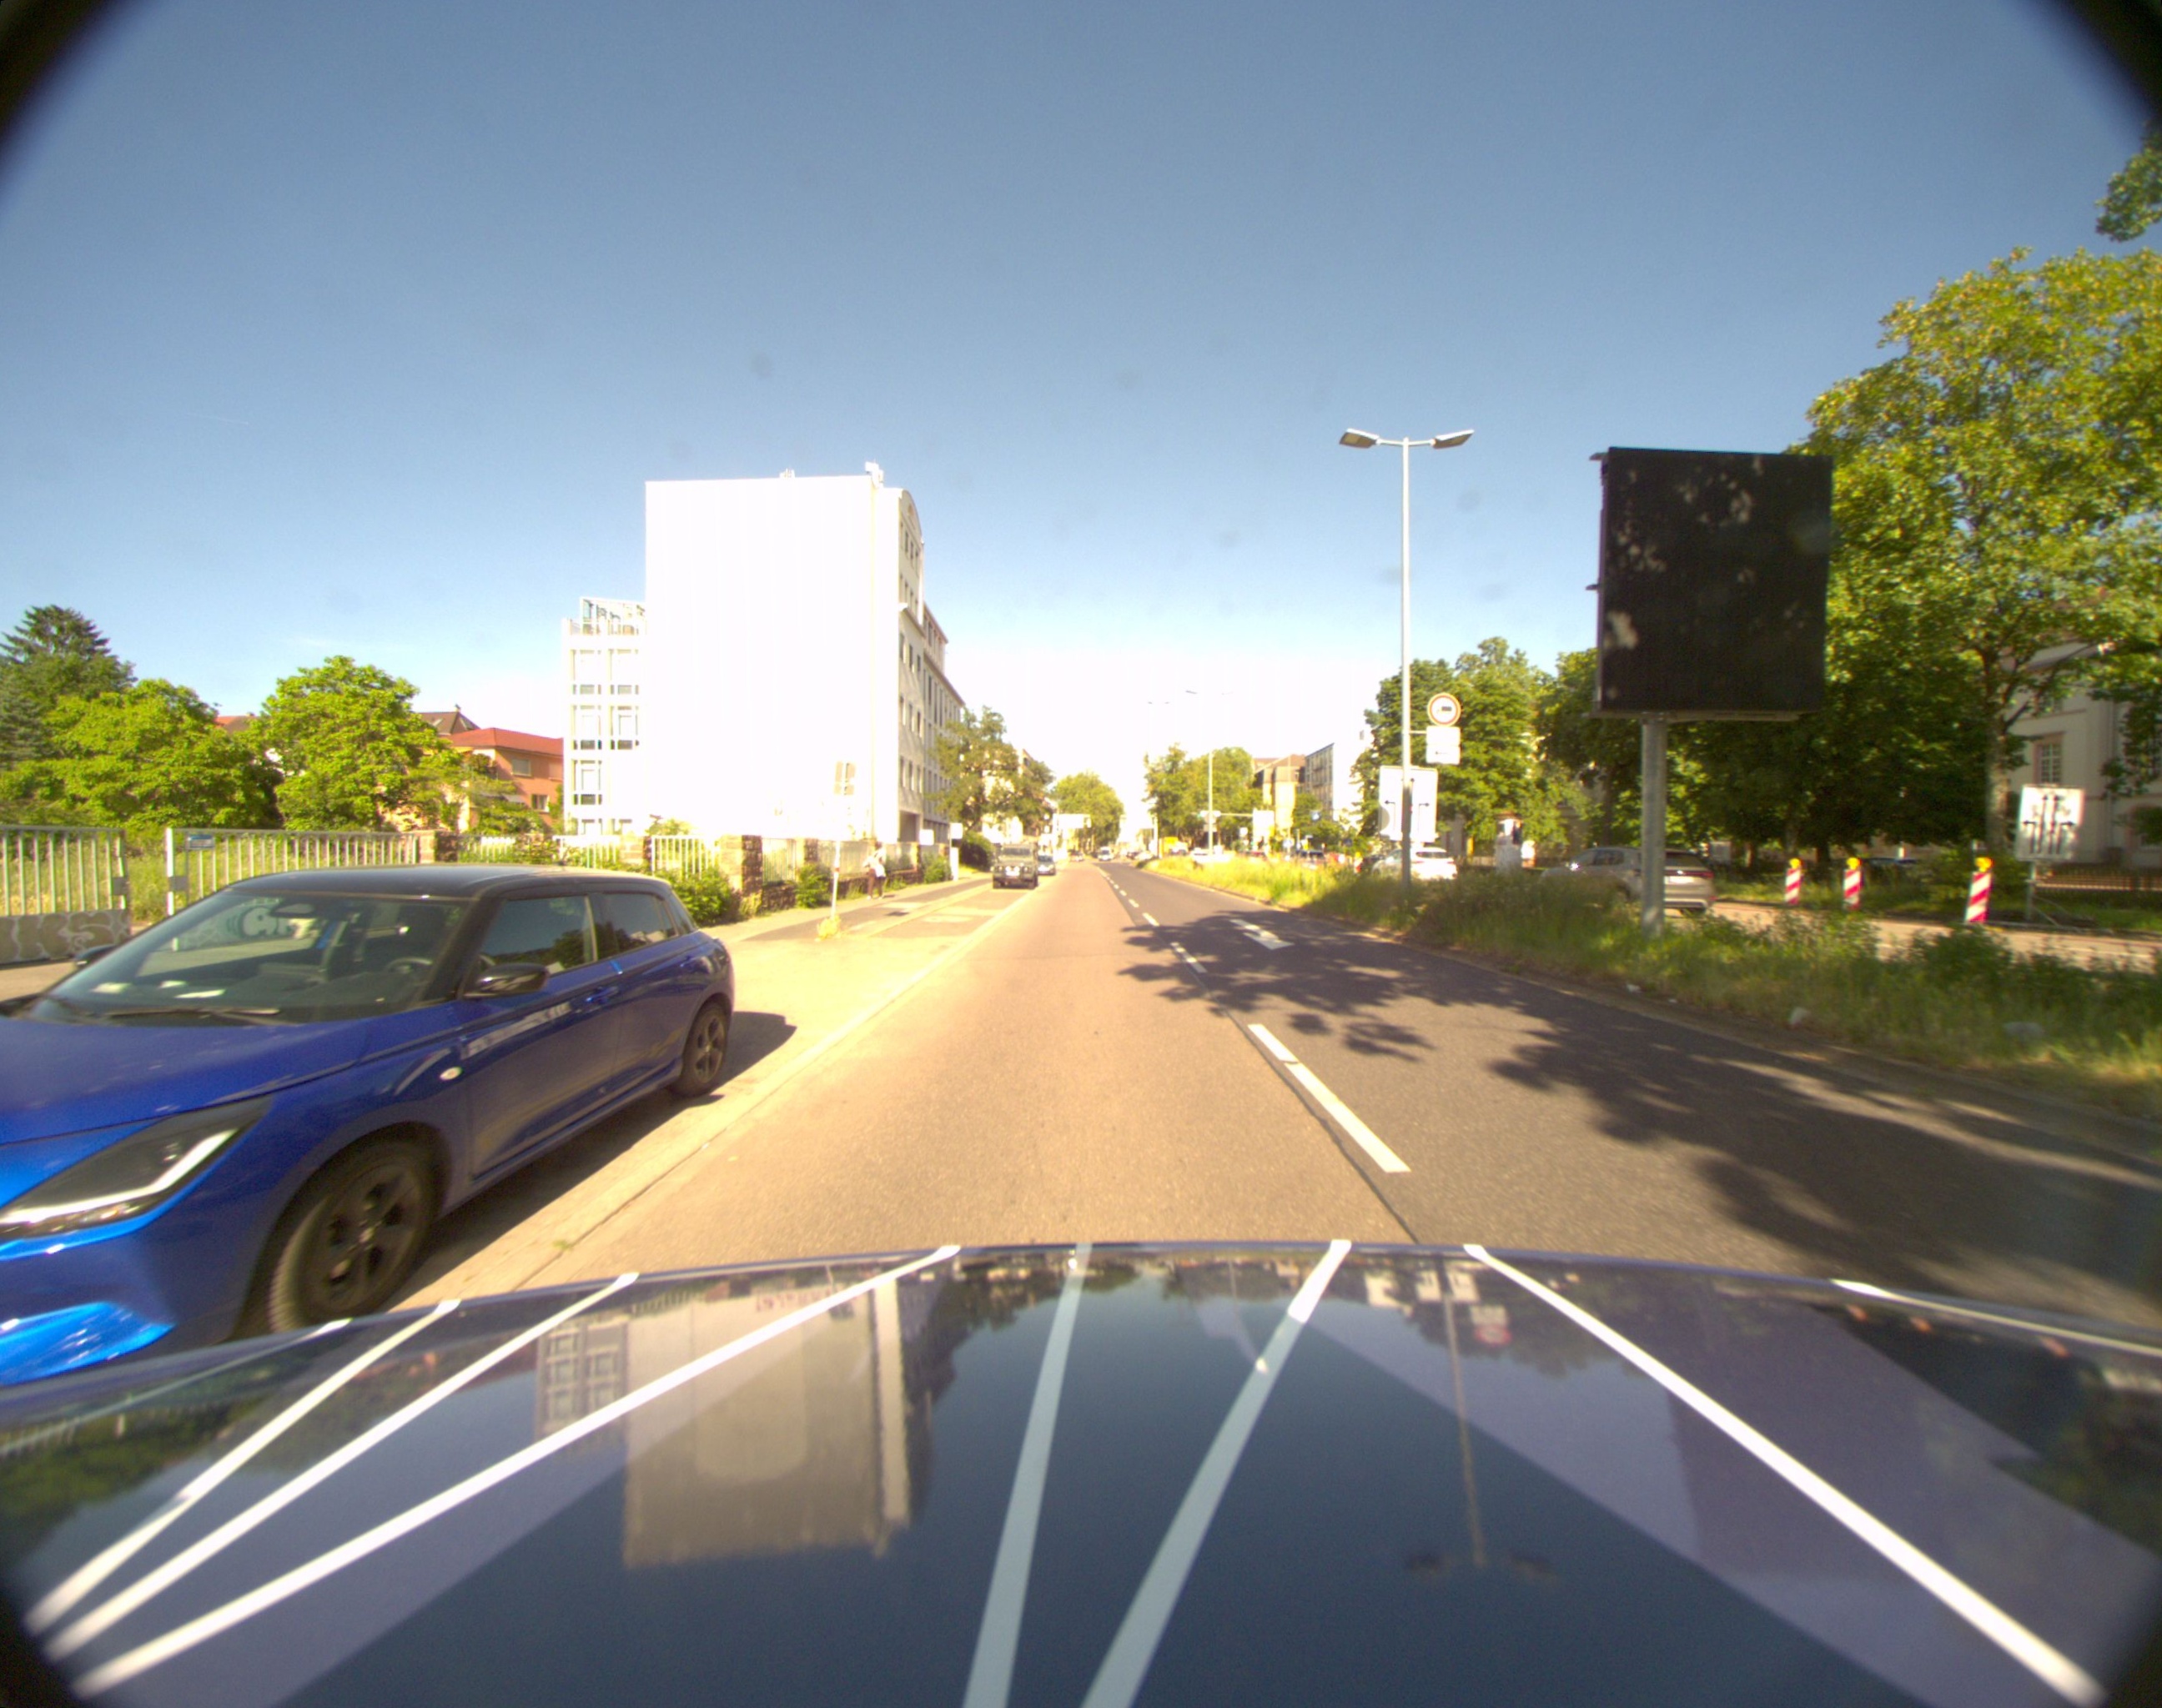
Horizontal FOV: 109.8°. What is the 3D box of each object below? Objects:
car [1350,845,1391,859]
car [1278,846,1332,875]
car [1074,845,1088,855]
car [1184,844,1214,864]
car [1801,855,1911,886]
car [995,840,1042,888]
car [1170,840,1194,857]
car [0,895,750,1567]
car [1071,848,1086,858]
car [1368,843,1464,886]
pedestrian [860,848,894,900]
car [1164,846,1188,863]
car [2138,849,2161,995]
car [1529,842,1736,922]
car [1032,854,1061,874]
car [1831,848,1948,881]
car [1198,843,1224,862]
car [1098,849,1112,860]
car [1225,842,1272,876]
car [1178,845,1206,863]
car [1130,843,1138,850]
[{"bbox_3d":[38.252,-0.296,100.417,4.704,1.609,1.919,-1,4,9],"label":"car"},{"bbox_3d":[12.733,0.350,43.497,1.800,1.510,4.443,0,1,0],"label":"car"},{"bbox_3d":[0.047,-0.738,131.979,1.882,1.511,3.999,-1,4,6],"label":"car"},{"bbox_3d":[9.507,-0.009,61.565,1.800,1.510,4.204,0,1,0],"label":"car"},{"bbox_3d":[34.909,0.707,34.363,1.769,1.316,3.503,0,1,11],"label":"car"},{"bbox_3d":[-2.734,0.371,34.091,1.664,2.002,4.775,1,1,1],"label":"car"},{"bbox_3d":[12.198,-0.696,92.213,2.239,2.016,5.016,-1,1,0],"label":"car"},{"bbox_3d":[-3.233,0.941,3.550,1.672,1.176,3.900,3,0,-1],"label":"car"},{"bbox_3d":[-0.410,-0.152,123.061,1.882,1.510,4.001,-1,1,7],"label":"car"},{"bbox_3d":[12.810,0.355,29.358,1.800,1.510,4.257,-1,1,0],"label":"car"},{"bbox_3d":[-6.373,0.616,23.746,0.745,1.574,0.896,2,1,1],"label":"pedestrian"},{"bbox_3d":[9.382,0.046,75.475,1.800,1.510,4.345,-1,1,0],"label":"car"},{"bbox_3d":[12.075,0.748,5.690,1.843,1.510,4.666,1,1,2],"label":"car"},{"bbox_3d":[12.651,0.539,17.834,1.800,1.511,4.256,-1,2,1],"label":"car"},{"bbox_3d":[-2.433,0.719,54.754,1.641,1.439,4.157,0,-1,3],"label":"car"},{"bbox_3d":[45.967,0.544,43.355,1.646,1.484,4.682,-1,4,1],"label":"car"},{"bbox_3d":[13.029,-0.180,76.376,1.800,1.733,5.030,0,1,0],"label":"car"},{"bbox_3d":[3.896,0.089,124.627,1.882,1.511,4.000,-1,4,7],"label":"car"},{"bbox_3d":[9.484,0.242,43.317,1.757,1.609,4.320,-1,4,1],"label":"car"},{"bbox_3d":[9.931,-0.018,68.405,1.800,1.510,4.362,-1,1,0],"label":"car"},{"bbox_3d":[12.593,-1.790,180.345,1.861,1.576,4.278,-1,1,2],"label":"car"}]
